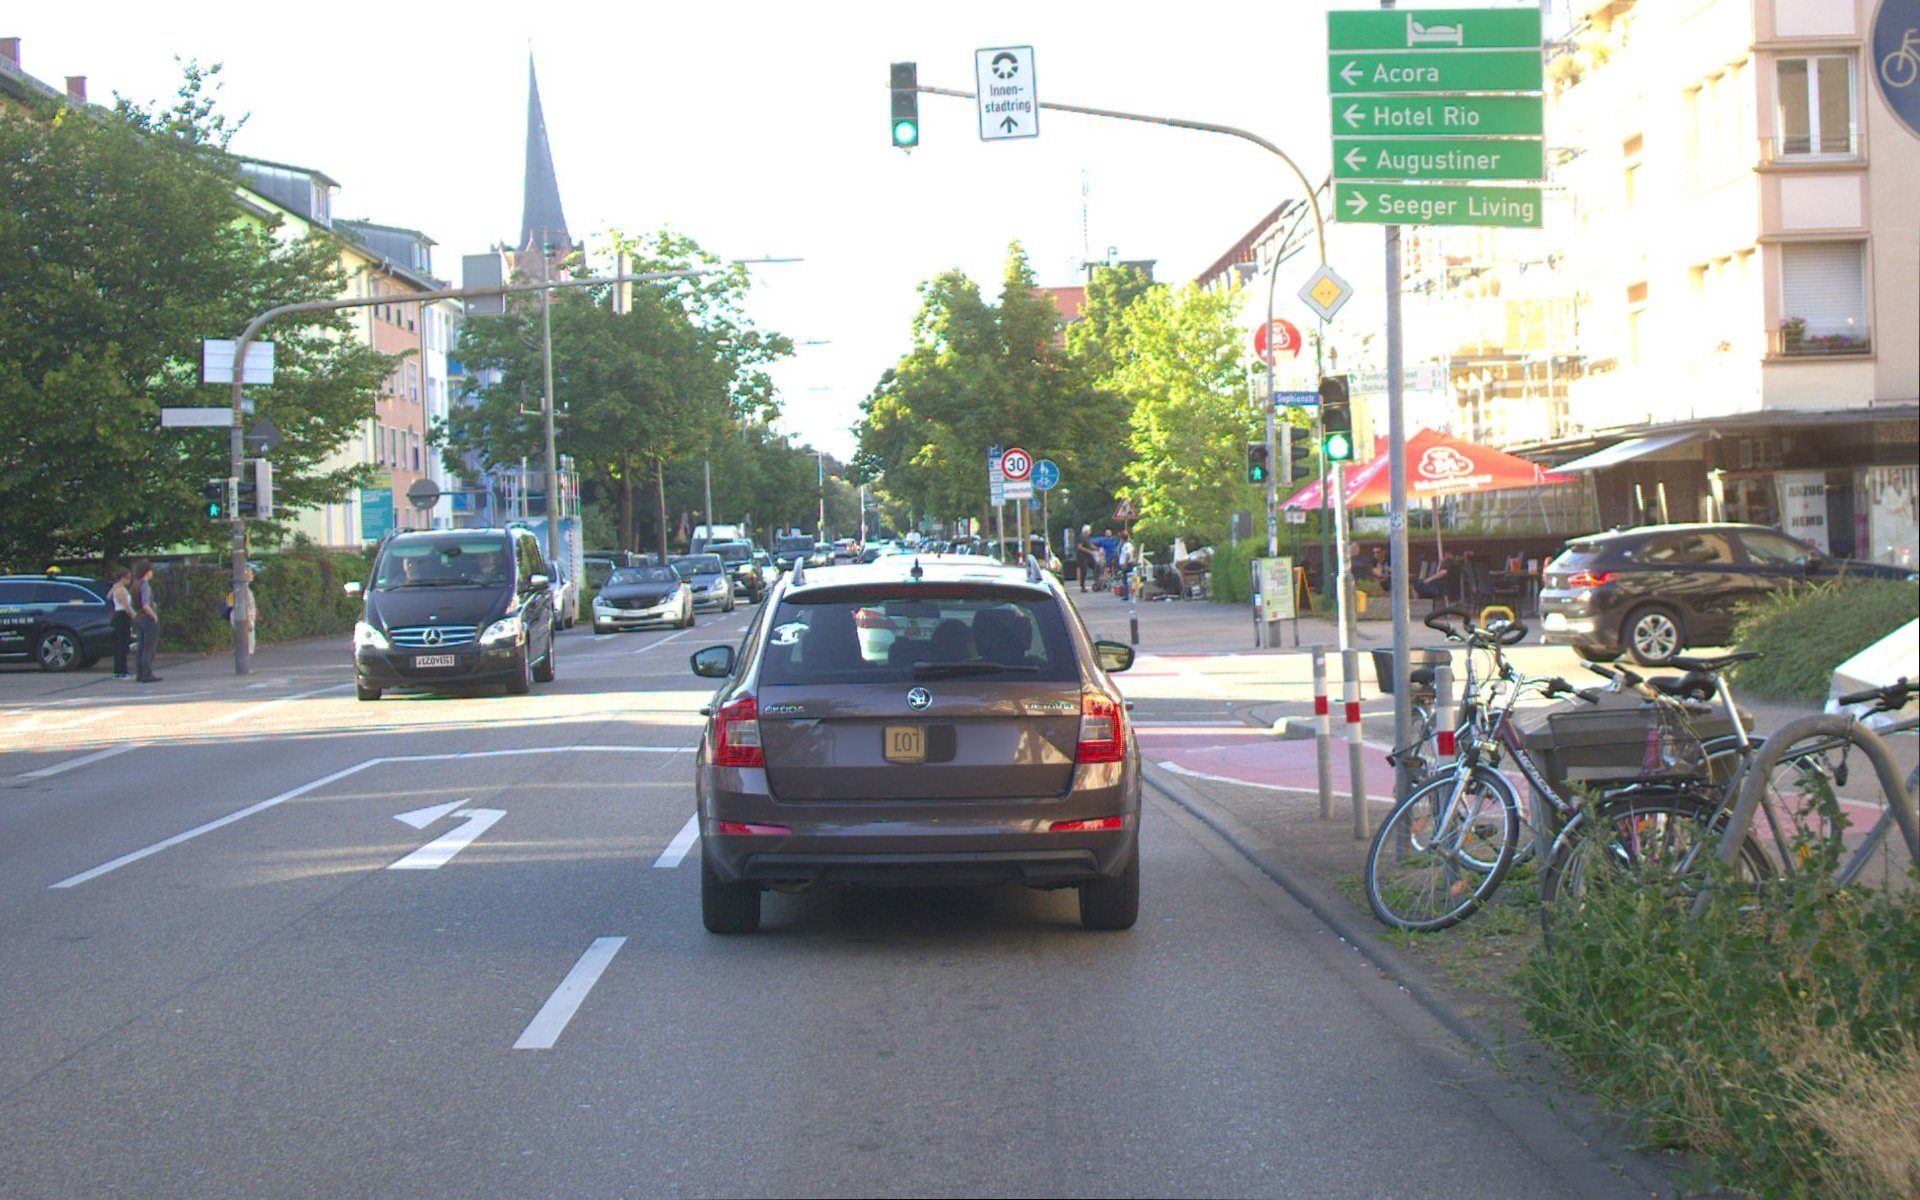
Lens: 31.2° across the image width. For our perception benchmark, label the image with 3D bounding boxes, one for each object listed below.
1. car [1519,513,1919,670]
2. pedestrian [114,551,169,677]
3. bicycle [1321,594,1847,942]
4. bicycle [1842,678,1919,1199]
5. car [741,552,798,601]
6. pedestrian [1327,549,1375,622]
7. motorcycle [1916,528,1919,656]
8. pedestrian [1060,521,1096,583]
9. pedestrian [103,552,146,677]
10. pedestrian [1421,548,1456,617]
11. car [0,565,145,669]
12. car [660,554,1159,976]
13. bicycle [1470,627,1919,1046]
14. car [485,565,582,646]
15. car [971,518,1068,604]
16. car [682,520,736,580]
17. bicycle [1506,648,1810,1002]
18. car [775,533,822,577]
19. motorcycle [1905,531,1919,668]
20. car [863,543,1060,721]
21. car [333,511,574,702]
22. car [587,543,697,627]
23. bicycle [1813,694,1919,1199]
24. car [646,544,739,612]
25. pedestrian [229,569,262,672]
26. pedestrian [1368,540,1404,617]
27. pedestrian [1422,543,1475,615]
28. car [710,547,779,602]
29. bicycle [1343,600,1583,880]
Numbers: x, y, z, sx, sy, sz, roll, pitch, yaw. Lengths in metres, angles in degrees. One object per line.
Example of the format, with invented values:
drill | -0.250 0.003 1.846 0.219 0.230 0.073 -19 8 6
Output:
car | 8.271 -0.106 37.540 3.987 1.546 1.806 -2 1 0
pedestrian | -11.823 0.202 49.677 0.616 1.791 0.504 -2 1 0
bicycle | 2.334 0.625 13.037 1.835 1.153 0.683 -4 1 6
bicycle | 2.586 0.693 6.767 1.570 1.100 0.392 -2 1 0
car | -6.430 -0.798 116.133 1.704 1.545 4.002 -2 1 -1
pedestrian | 6.593 -0.247 57.953 0.677 1.194 0.855 -2 1 0
motorcycle | 10.340 -0.051 33.337 1.914 1.357 0.694 -2 1 4
pedestrian | 3.257 -1.323 94.999 0.675 1.698 0.800 -1 1 26
pedestrian | -12.156 0.205 50.028 0.449 1.791 0.504 -2 1 0
pedestrian | 8.215 -0.306 59.043 0.505 1.172 0.428 -2 1 -1
car | -15.014 0.271 52.646 4.634 1.530 1.862 -1 1 -1
car | -0.237 0.562 14.483 1.773 1.484 4.311 -1 1 -2
bicycle | 2.397 0.670 10.078 1.687 1.104 0.517 -4 1 6
car | -9.164 0.095 74.101 1.560 1.612 4.000 -2 1 0
car | 1.286 -0.834 73.105 1.993 1.766 4.000 0 1 2
car | -10.592 -2.119 145.320 1.993 2.469 4.000 -2 1 -1
bicycle | 2.381 0.720 11.604 0.619 1.048 1.571 -1 1 25
car | -7.602 -2.132 162.347 1.993 2.007 4.000 -2 1 -1
motorcycle | 10.474 -0.034 34.230 1.914 1.357 0.694 -2 1 4
car | 0.006 0.250 32.326 1.737 1.565 4.000 0 1 0
car | -5.647 0.031 38.948 1.993 1.902 4.964 -4 1 -1
car | -6.352 -0.318 69.015 1.830 1.574 4.000 -2 1 -1
bicycle | 2.723 0.749 7.498 1.570 1.100 0.501 -2 1 0
car | -6.727 -0.573 86.744 1.993 1.605 4.000 -2 1 0
pedestrian | -10.574 0.300 50.893 0.301 1.499 0.640 -2 1 0
pedestrian | 7.297 -0.378 58.919 0.499 1.298 0.507 -2 1 -4
pedestrian | 8.250 -0.355 58.065 0.729 1.194 0.855 -2 1 0
car | -6.257 -0.759 100.050 1.787 1.565 4.000 0 1 0
bicycle | 2.238 0.590 15.518 0.501 1.143 1.959 -4 1 -7
